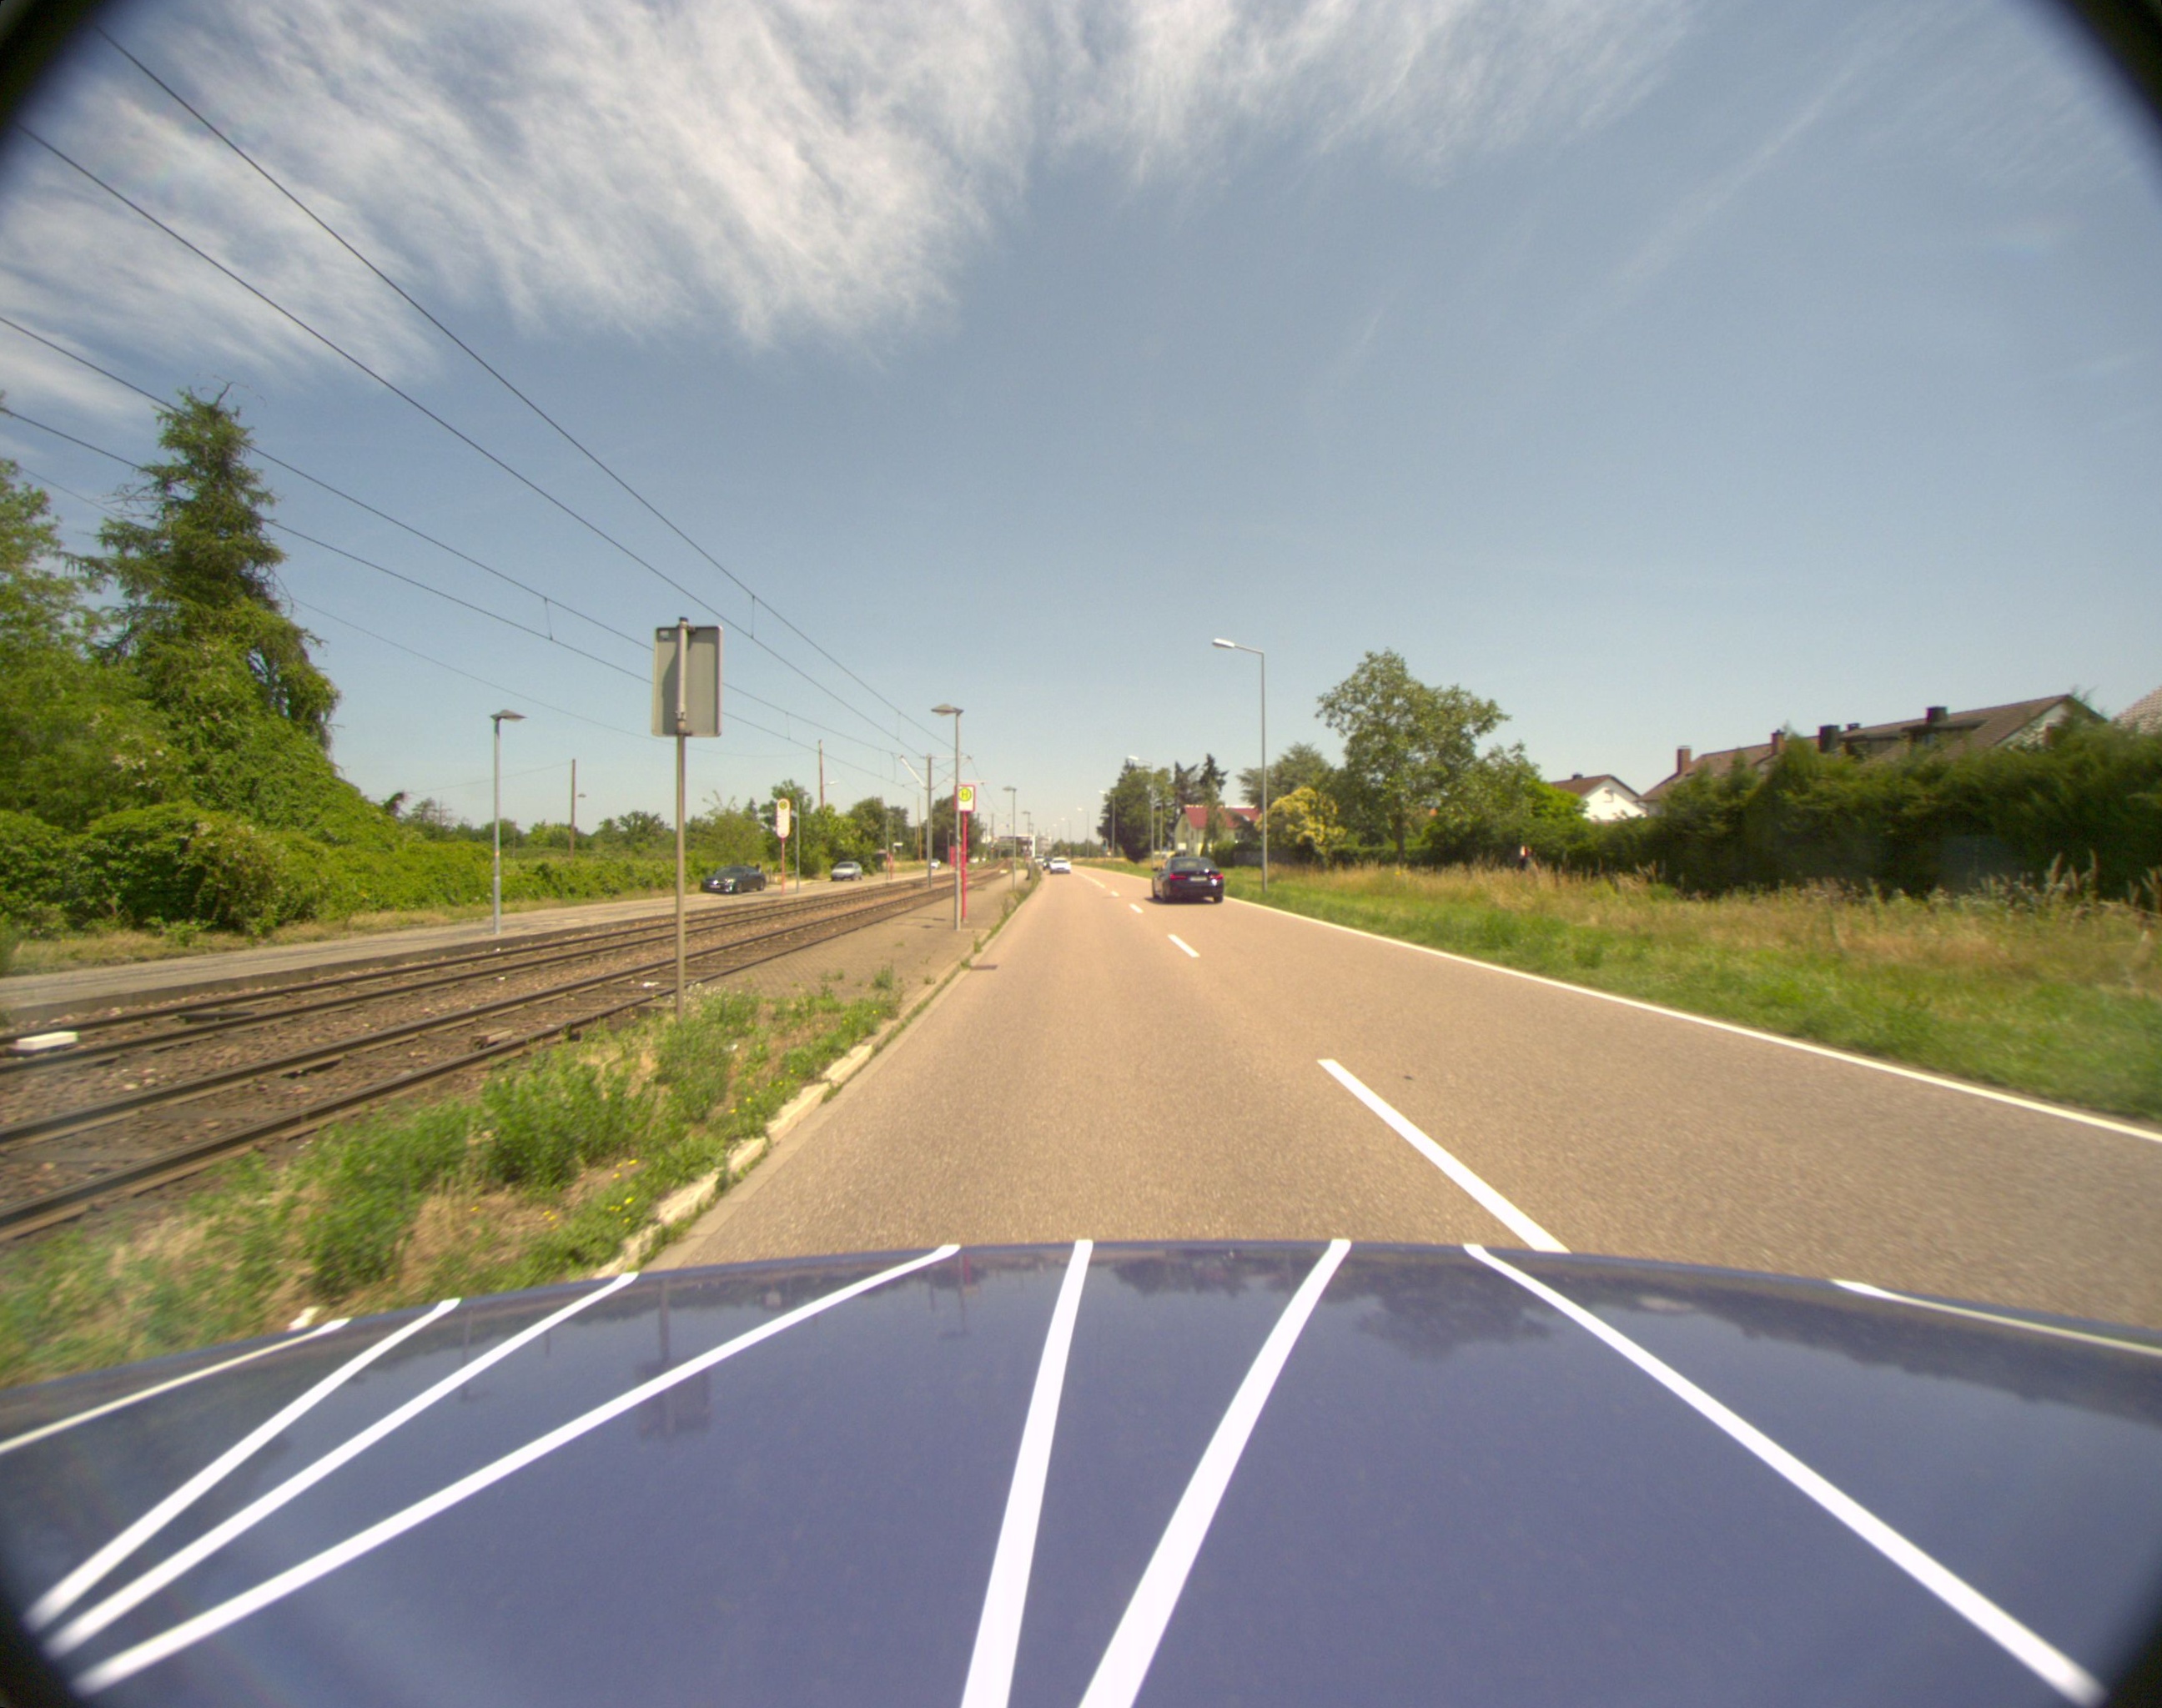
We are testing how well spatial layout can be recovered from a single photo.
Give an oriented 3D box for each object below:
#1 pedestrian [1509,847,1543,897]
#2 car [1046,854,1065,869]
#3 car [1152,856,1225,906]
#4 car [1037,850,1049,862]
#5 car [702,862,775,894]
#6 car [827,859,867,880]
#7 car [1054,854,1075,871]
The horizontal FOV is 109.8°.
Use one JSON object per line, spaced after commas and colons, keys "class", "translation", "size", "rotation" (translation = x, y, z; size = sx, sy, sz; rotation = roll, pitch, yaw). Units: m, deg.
{"class": "pedestrian", "translation": [13.497, 0.534, 23.059], "size": [0.610, 1.469, 0.633], "rotation": [-1, 1, -1]}
{"class": "car", "translation": [-2.844, 0.879, 87.016], "size": [1.998, 1.576, 3.999], "rotation": [-1, 1, 0]}
{"class": "car", "translation": [3.412, 0.816, 24.868], "size": [1.711, 1.396, 4.707], "rotation": [-1, 0, 0]}
{"class": "car", "translation": [-6.535, 0.348, 131.066], "size": [1.938, 2.002, 3.999], "rotation": [-1, 1, -2]}
{"class": "car", "translation": [-17.618, 1.197, 39.332], "size": [1.624, 1.414, 4.871], "rotation": [-1, 0, -2]}
{"class": "car", "translation": [-17.794, 1.131, 57.864], "size": [1.944, 1.414, 3.999], "rotation": [-1, 1, -3]}
{"class": "car", "translation": [-1.519, 0.799, 70.416], "size": [1.856, 1.447, 3.706], "rotation": [-1, 1, 0]}
